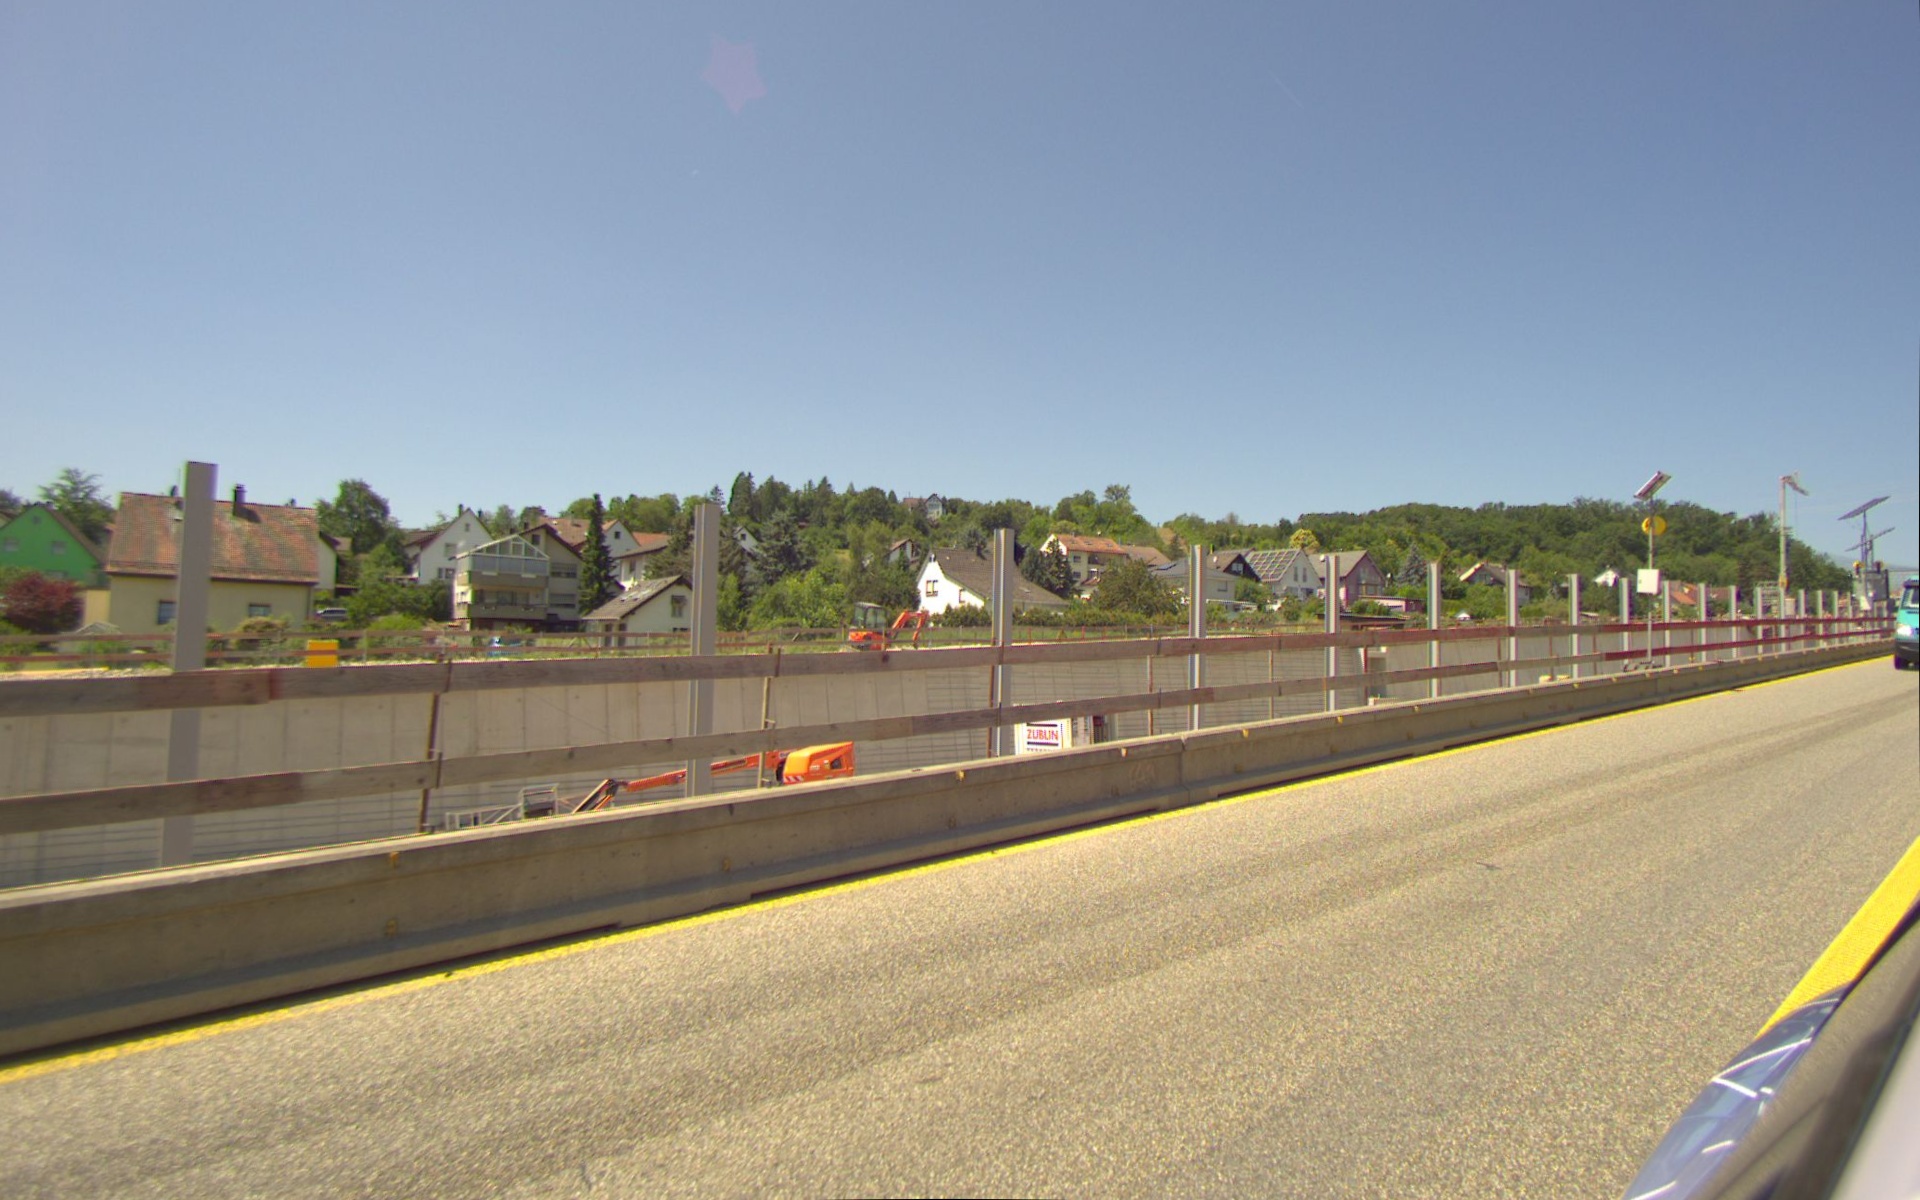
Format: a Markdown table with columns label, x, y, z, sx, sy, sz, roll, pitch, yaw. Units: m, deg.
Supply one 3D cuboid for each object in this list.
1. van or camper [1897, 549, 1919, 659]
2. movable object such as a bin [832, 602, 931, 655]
| label | x | y | z | sx | sy | sz | roll | pitch | yaw |
| --- | --- | --- | --- | --- | --- | --- | --- | --- | --- |
| van or camper | 25.187 | 0.144 | 25.051 | 7.536 | 2.504 | 2.096 | 1 | -1 | -41 |
| movable object such as a bin | -3.539 | 1.229 | 45.775 | 4.078 | 2.267 | 1.997 | 0 | -1 | -40 |
